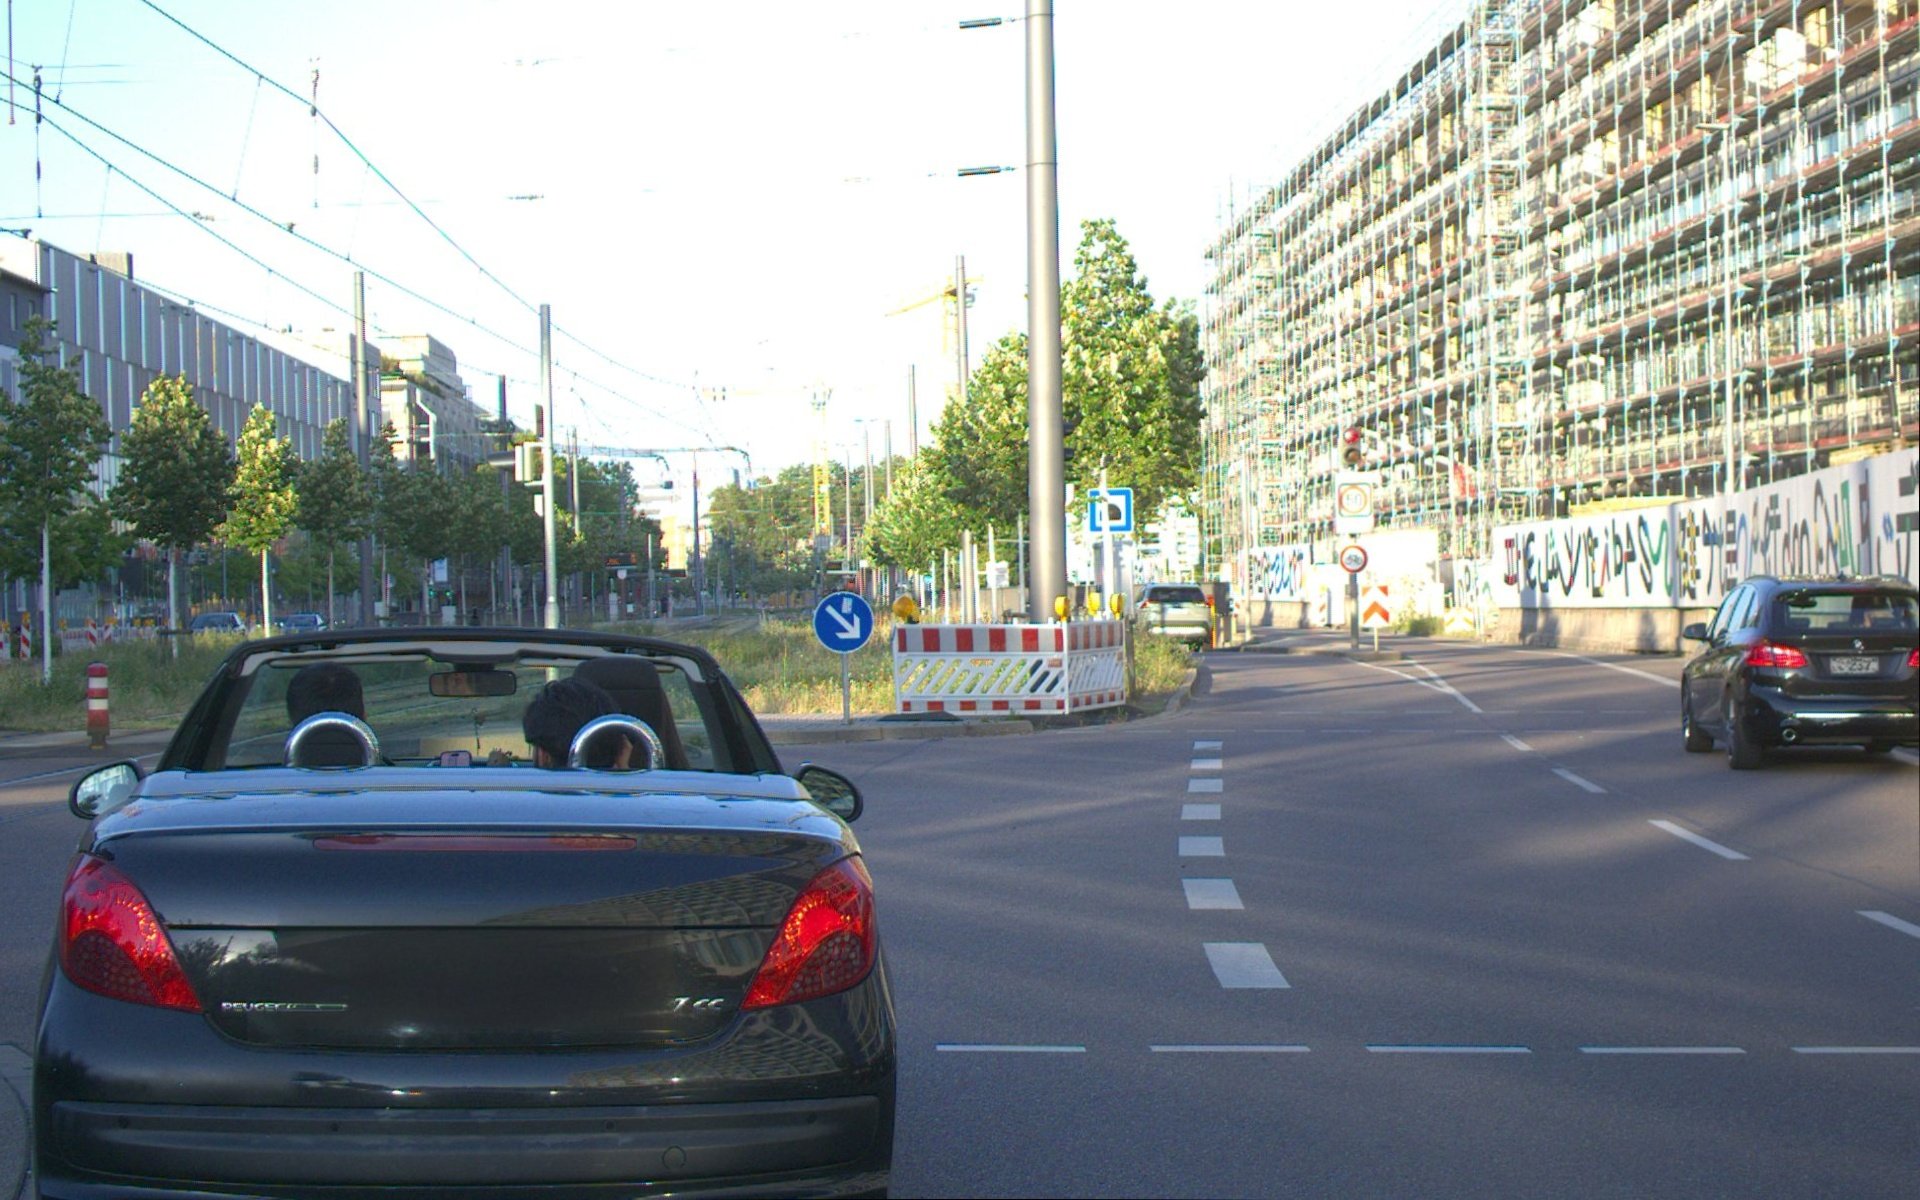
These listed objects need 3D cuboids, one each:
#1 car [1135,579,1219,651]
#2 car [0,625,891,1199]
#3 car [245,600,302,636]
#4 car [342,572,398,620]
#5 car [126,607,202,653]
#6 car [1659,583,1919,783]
[{"bbox_3d":[5.225,0.347,83.124,1.834,1.667,4.282,0,1,1],"label":"car"},{"bbox_3d":[-1.030,0.767,8.172,1.674,1.347,4.000,0,1,0],"label":"car"},{"bbox_3d":[-28.727,0.753,143.969,1.657,1.426,3.895,1,0,-1],"label":"car"},{"bbox_3d":[-24.750,-0.166,144.366,1.657,1.957,4.266,1,0,-1],"label":"car"},{"bbox_3d":[-26.327,0.978,113.761,1.657,1.426,3.895,1,0,-1],"label":"car"},{"bbox_3d":[7.066,0.622,28.726,1.821,1.513,4.791,0,0,4],"label":"car"}]
